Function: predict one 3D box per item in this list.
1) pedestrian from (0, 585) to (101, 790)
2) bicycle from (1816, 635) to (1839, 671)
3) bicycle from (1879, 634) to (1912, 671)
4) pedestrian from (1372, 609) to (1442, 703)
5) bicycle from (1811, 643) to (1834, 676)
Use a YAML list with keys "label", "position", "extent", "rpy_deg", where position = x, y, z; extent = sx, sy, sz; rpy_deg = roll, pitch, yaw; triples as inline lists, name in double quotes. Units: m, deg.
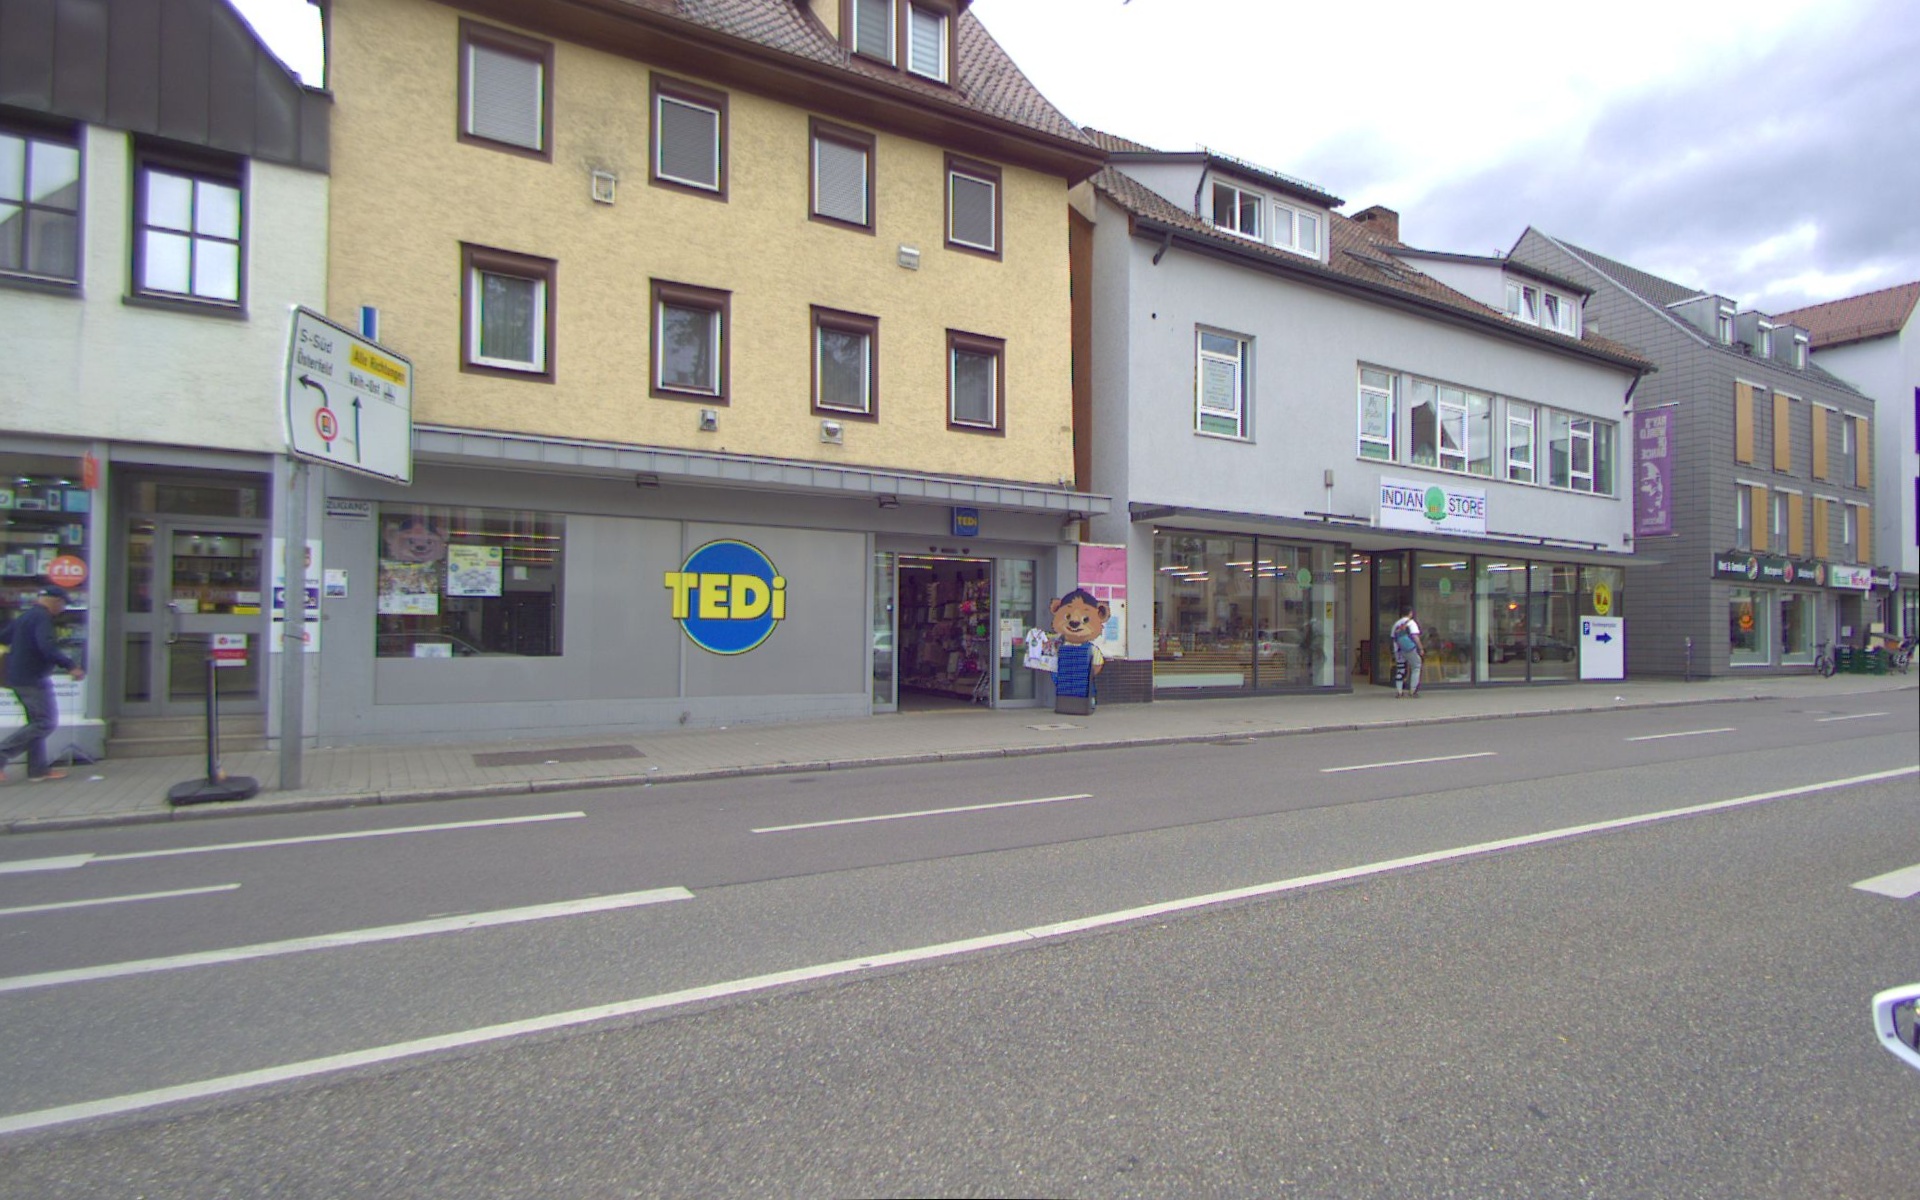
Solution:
- label: "pedestrian"
  position: [-8.174, 0.742, 8.867]
  extent: [0.766, 1.736, 0.683]
  rpy_deg: [1, 0, -30]
- label: "bicycle"
  position: [28.650, 1.743, 33.184]
  extent: [1.279, 1.142, 0.383]
  rpy_deg: [1, -2, -41]
- label: "bicycle"
  position: [31.519, 1.751, 33.837]
  extent: [1.806, 1.202, 0.384]
  rpy_deg: [1, -1, -34]
- label: "pedestrian"
  position: [8.591, 1.048, 19.304]
  extent: [0.969, 1.728, 0.750]
  rpy_deg: [1, 2, -30]
- label: "bicycle"
  position: [25.774, 1.769, 30.025]
  extent: [1.472, 0.966, 0.323]
  rpy_deg: [1, -2, -42]
